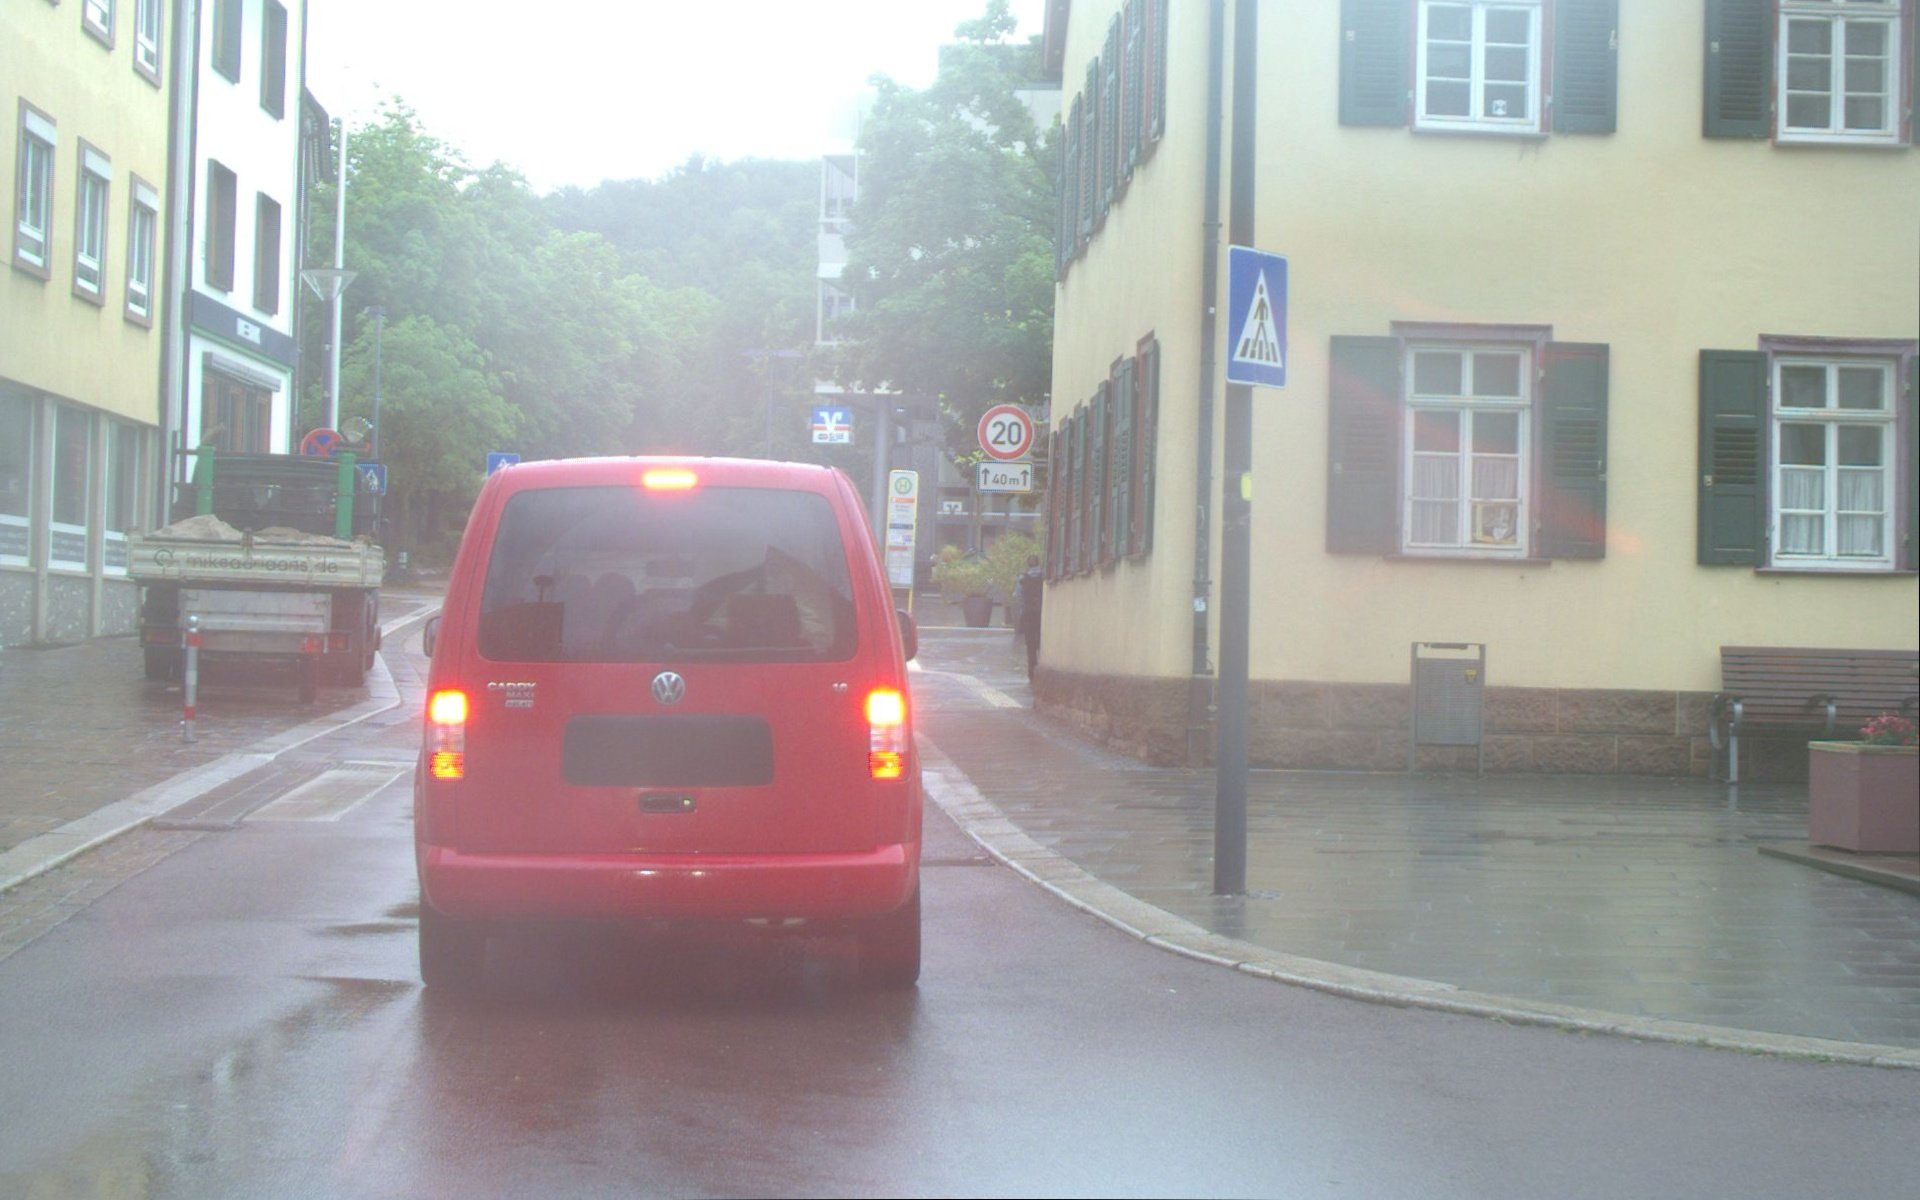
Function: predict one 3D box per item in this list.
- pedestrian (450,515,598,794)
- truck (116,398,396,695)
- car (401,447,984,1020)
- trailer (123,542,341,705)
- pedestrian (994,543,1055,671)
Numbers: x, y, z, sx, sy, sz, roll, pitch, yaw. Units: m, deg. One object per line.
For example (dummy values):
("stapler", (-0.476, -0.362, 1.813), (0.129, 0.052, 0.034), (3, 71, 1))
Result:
("pedestrian", (-2.707, 0.328, 21.356), (0.865, 1.687, 0.716), (1, 1, -7))
("truck", (-7.240, -0.602, 36.025), (2.473, 2.785, 6.602), (1, 2, -8))
("car", (-1.107, 0.408, 13.127), (1.862, 1.824, 4.186), (0, 1, -7))
("trailer", (-6.559, 0.181, 31.216), (1.727, 1.342, 3.161), (1, 2, -8))
("pedestrian", (0.819, 0.085, 43.751), (0.728, 1.611, 0.694), (1, 0, -1))
